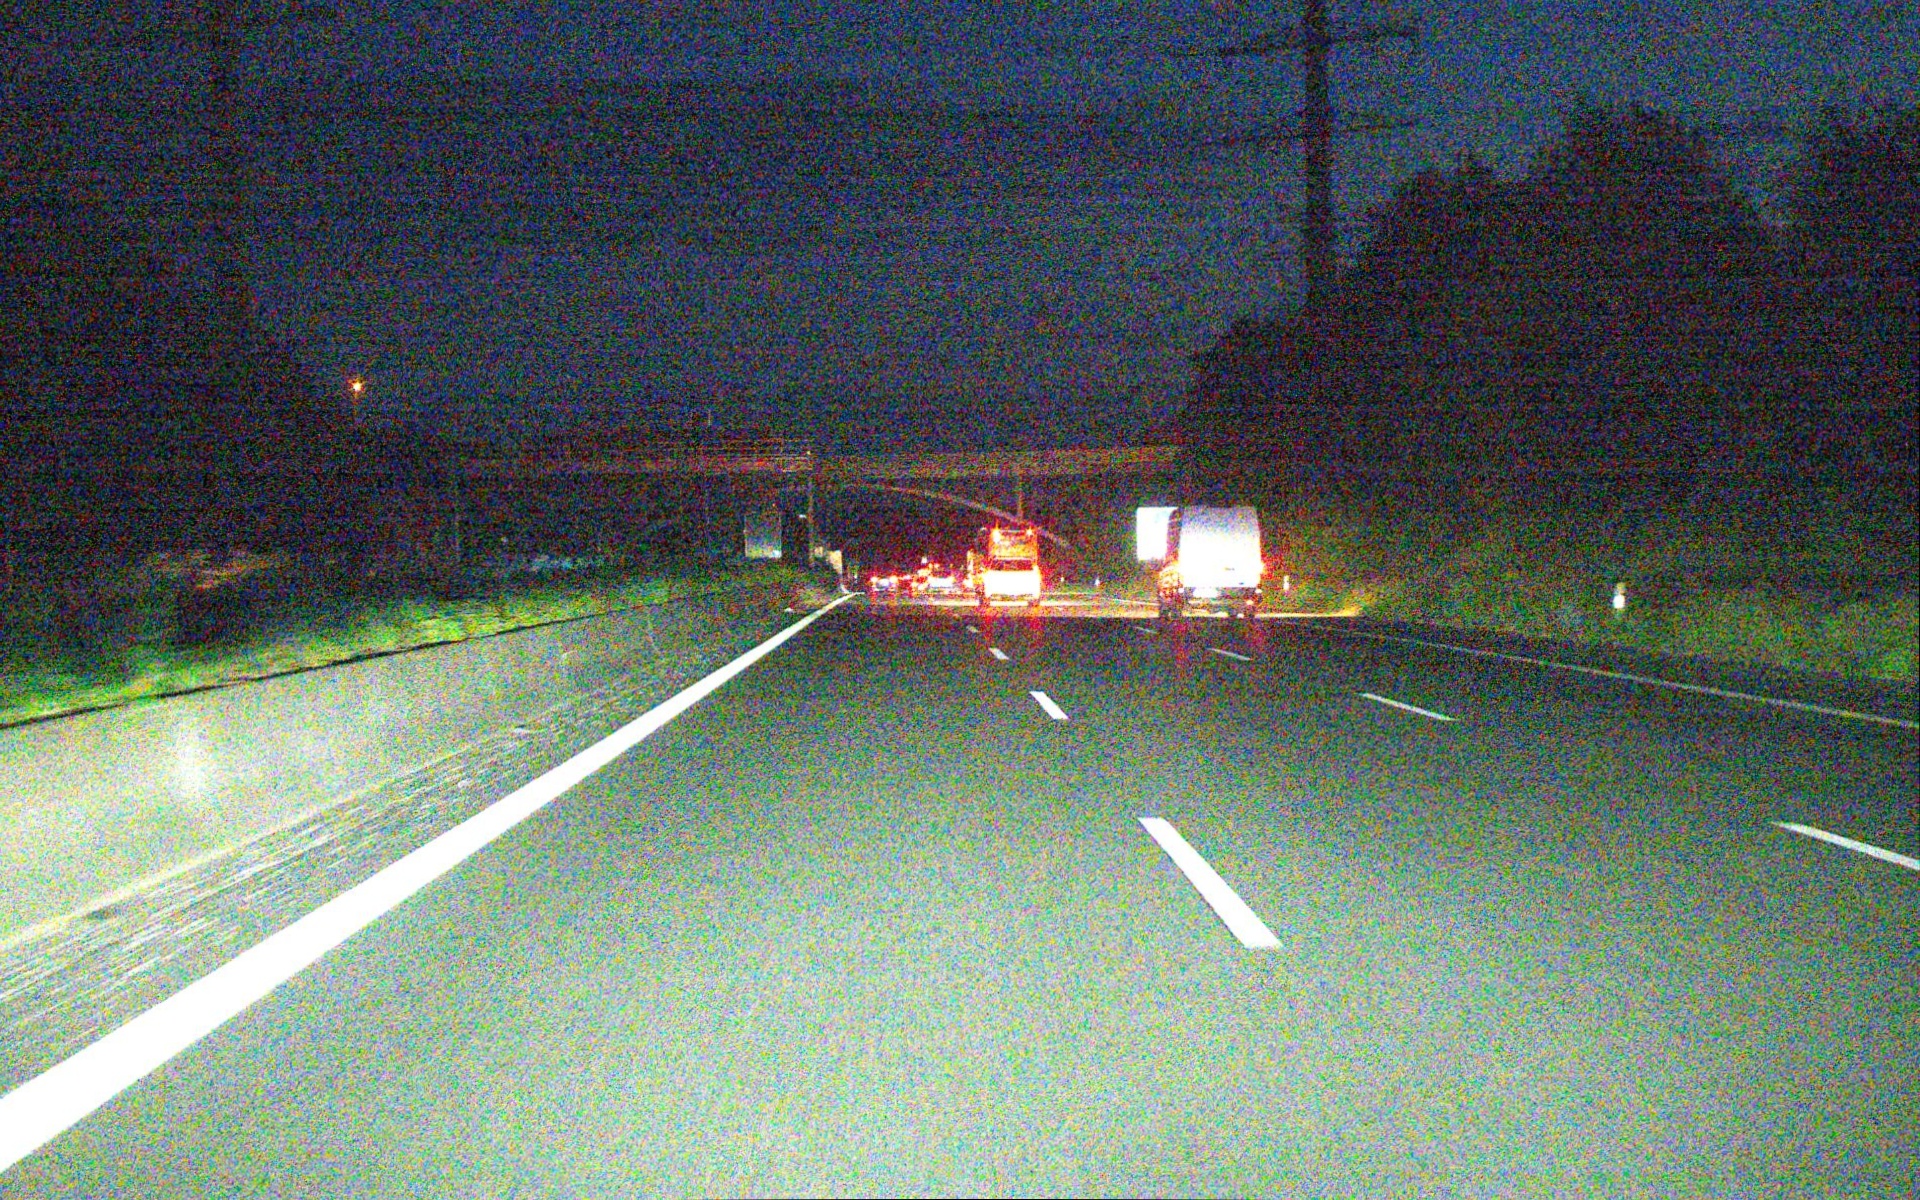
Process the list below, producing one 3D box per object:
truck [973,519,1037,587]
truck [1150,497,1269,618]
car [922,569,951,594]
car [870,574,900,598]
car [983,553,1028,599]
[{"bbox_3d":[2.239,-2.432,174.664,3.044,3.313,10.142,1,1,0],"label":"truck"},{"bbox_3d":[5.966,-0.961,83.062,2.076,2.682,7.308,1,-1,-2],"label":"truck"},{"bbox_3d":[-1.467,-1.192,215.620,1.821,1.461,4.248,1,1,0],"label":"car"},{"bbox_3d":[-4.780,-0.912,219.884,1.821,1.461,4.248,1,1,0],"label":"car"},{"bbox_3d":[1.440,-0.778,109.217,1.346,1.382,3.502,1,1,0],"label":"car"}]
